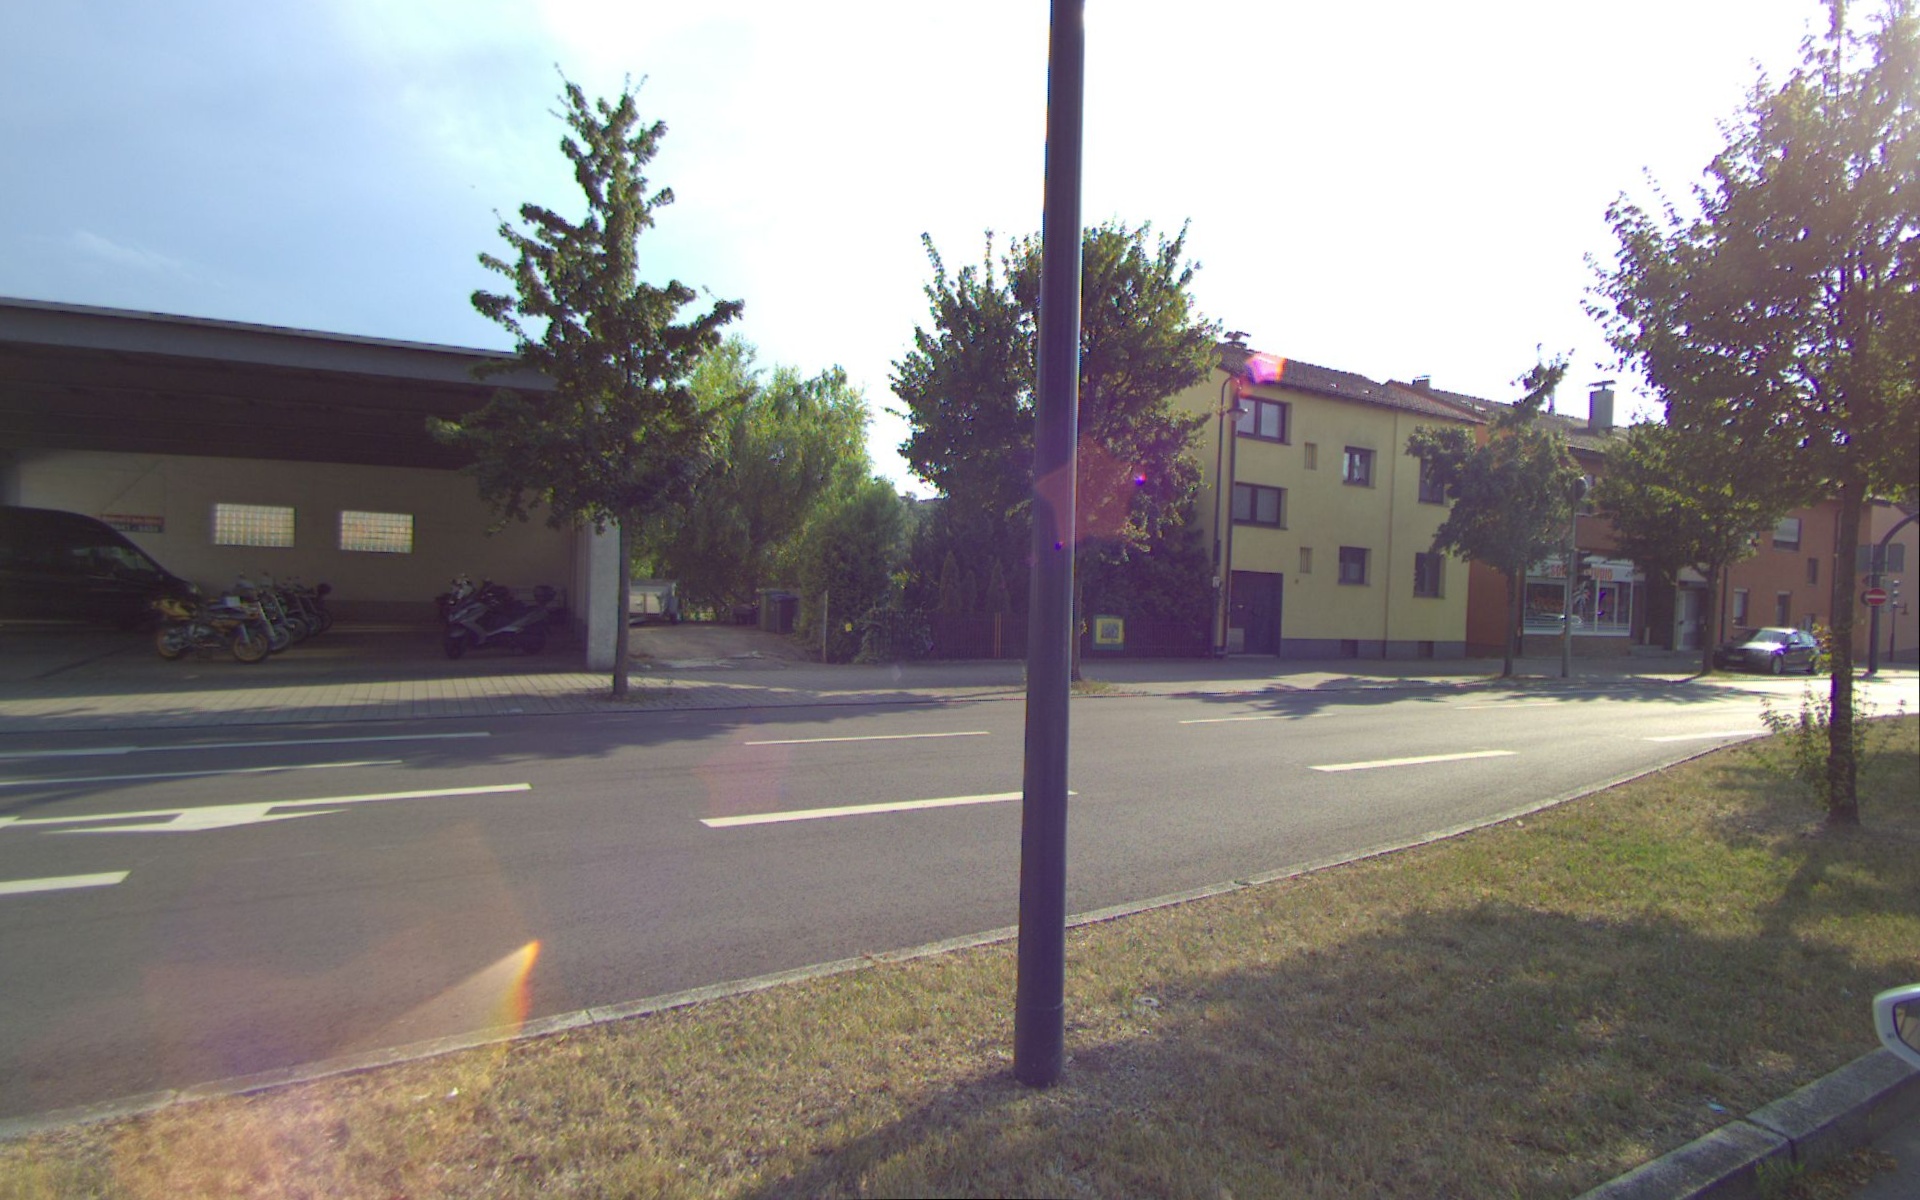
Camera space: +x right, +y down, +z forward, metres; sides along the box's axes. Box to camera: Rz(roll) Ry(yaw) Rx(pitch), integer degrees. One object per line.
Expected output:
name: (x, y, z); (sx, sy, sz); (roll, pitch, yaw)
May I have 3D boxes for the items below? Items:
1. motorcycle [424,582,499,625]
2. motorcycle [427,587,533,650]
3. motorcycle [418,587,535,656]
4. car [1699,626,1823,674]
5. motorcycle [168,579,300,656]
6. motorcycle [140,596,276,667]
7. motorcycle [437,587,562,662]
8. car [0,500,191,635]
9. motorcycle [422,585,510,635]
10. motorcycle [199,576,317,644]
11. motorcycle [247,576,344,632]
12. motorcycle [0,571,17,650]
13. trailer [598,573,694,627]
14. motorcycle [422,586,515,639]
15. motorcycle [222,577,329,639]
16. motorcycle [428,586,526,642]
motorcycle: (-15.956, 0.100, 32.179); (0.621, 1.314, 2.113); (1, 2, 36)
motorcycle: (-10.739, 0.383, 22.539); (0.621, 1.314, 2.113); (1, 2, 36)
motorcycle: (-9.809, 0.401, 20.461); (0.621, 1.314, 2.113); (1, 2, 36)
car: (25.973, 1.595, 32.554); (3.953, 1.319, 1.728); (1, 4, -30)
motorcycle: (-13.629, 0.318, 18.864); (2.219, 1.354, 0.631); (1, 0, 10)
motorcycle: (-12.494, 0.503, 16.699); (1.993, 1.101, 0.631); (1, 0, 12)
motorcycle: (-8.616, 0.429, 18.899); (0.621, 1.314, 2.113); (1, 2, 36)
car: (-20.449, -0.682, 22.094); (1.962, 2.789, 5.280); (1, 0, 26)
motorcycle: (-13.510, 0.239, 27.521); (0.621, 1.314, 2.113); (1, 2, 36)
motorcycle: (-14.750, 0.204, 21.107); (2.219, 1.354, 0.631); (1, 0, 10)
motorcycle: (-16.905, 0.102, 25.575); (2.219, 1.354, 0.631); (1, 0, 10)
motorcycle: (-17.284, 0.168, 16.727); (0.619, 1.380, 2.225); (1, 0, 24)
trailer: (-8.214, -0.007, 26.619); (1.698, 1.280, 3.995); (1, 0, -7)
motorcycle: (-12.645, 0.291, 25.923); (0.621, 1.314, 2.113); (1, 2, 36)
motorcycle: (-15.881, 0.181, 23.316); (2.219, 1.354, 0.631); (1, 0, 10)
motorcycle: (-11.763, 0.311, 24.540); (0.621, 1.314, 2.113); (1, 2, 36)
